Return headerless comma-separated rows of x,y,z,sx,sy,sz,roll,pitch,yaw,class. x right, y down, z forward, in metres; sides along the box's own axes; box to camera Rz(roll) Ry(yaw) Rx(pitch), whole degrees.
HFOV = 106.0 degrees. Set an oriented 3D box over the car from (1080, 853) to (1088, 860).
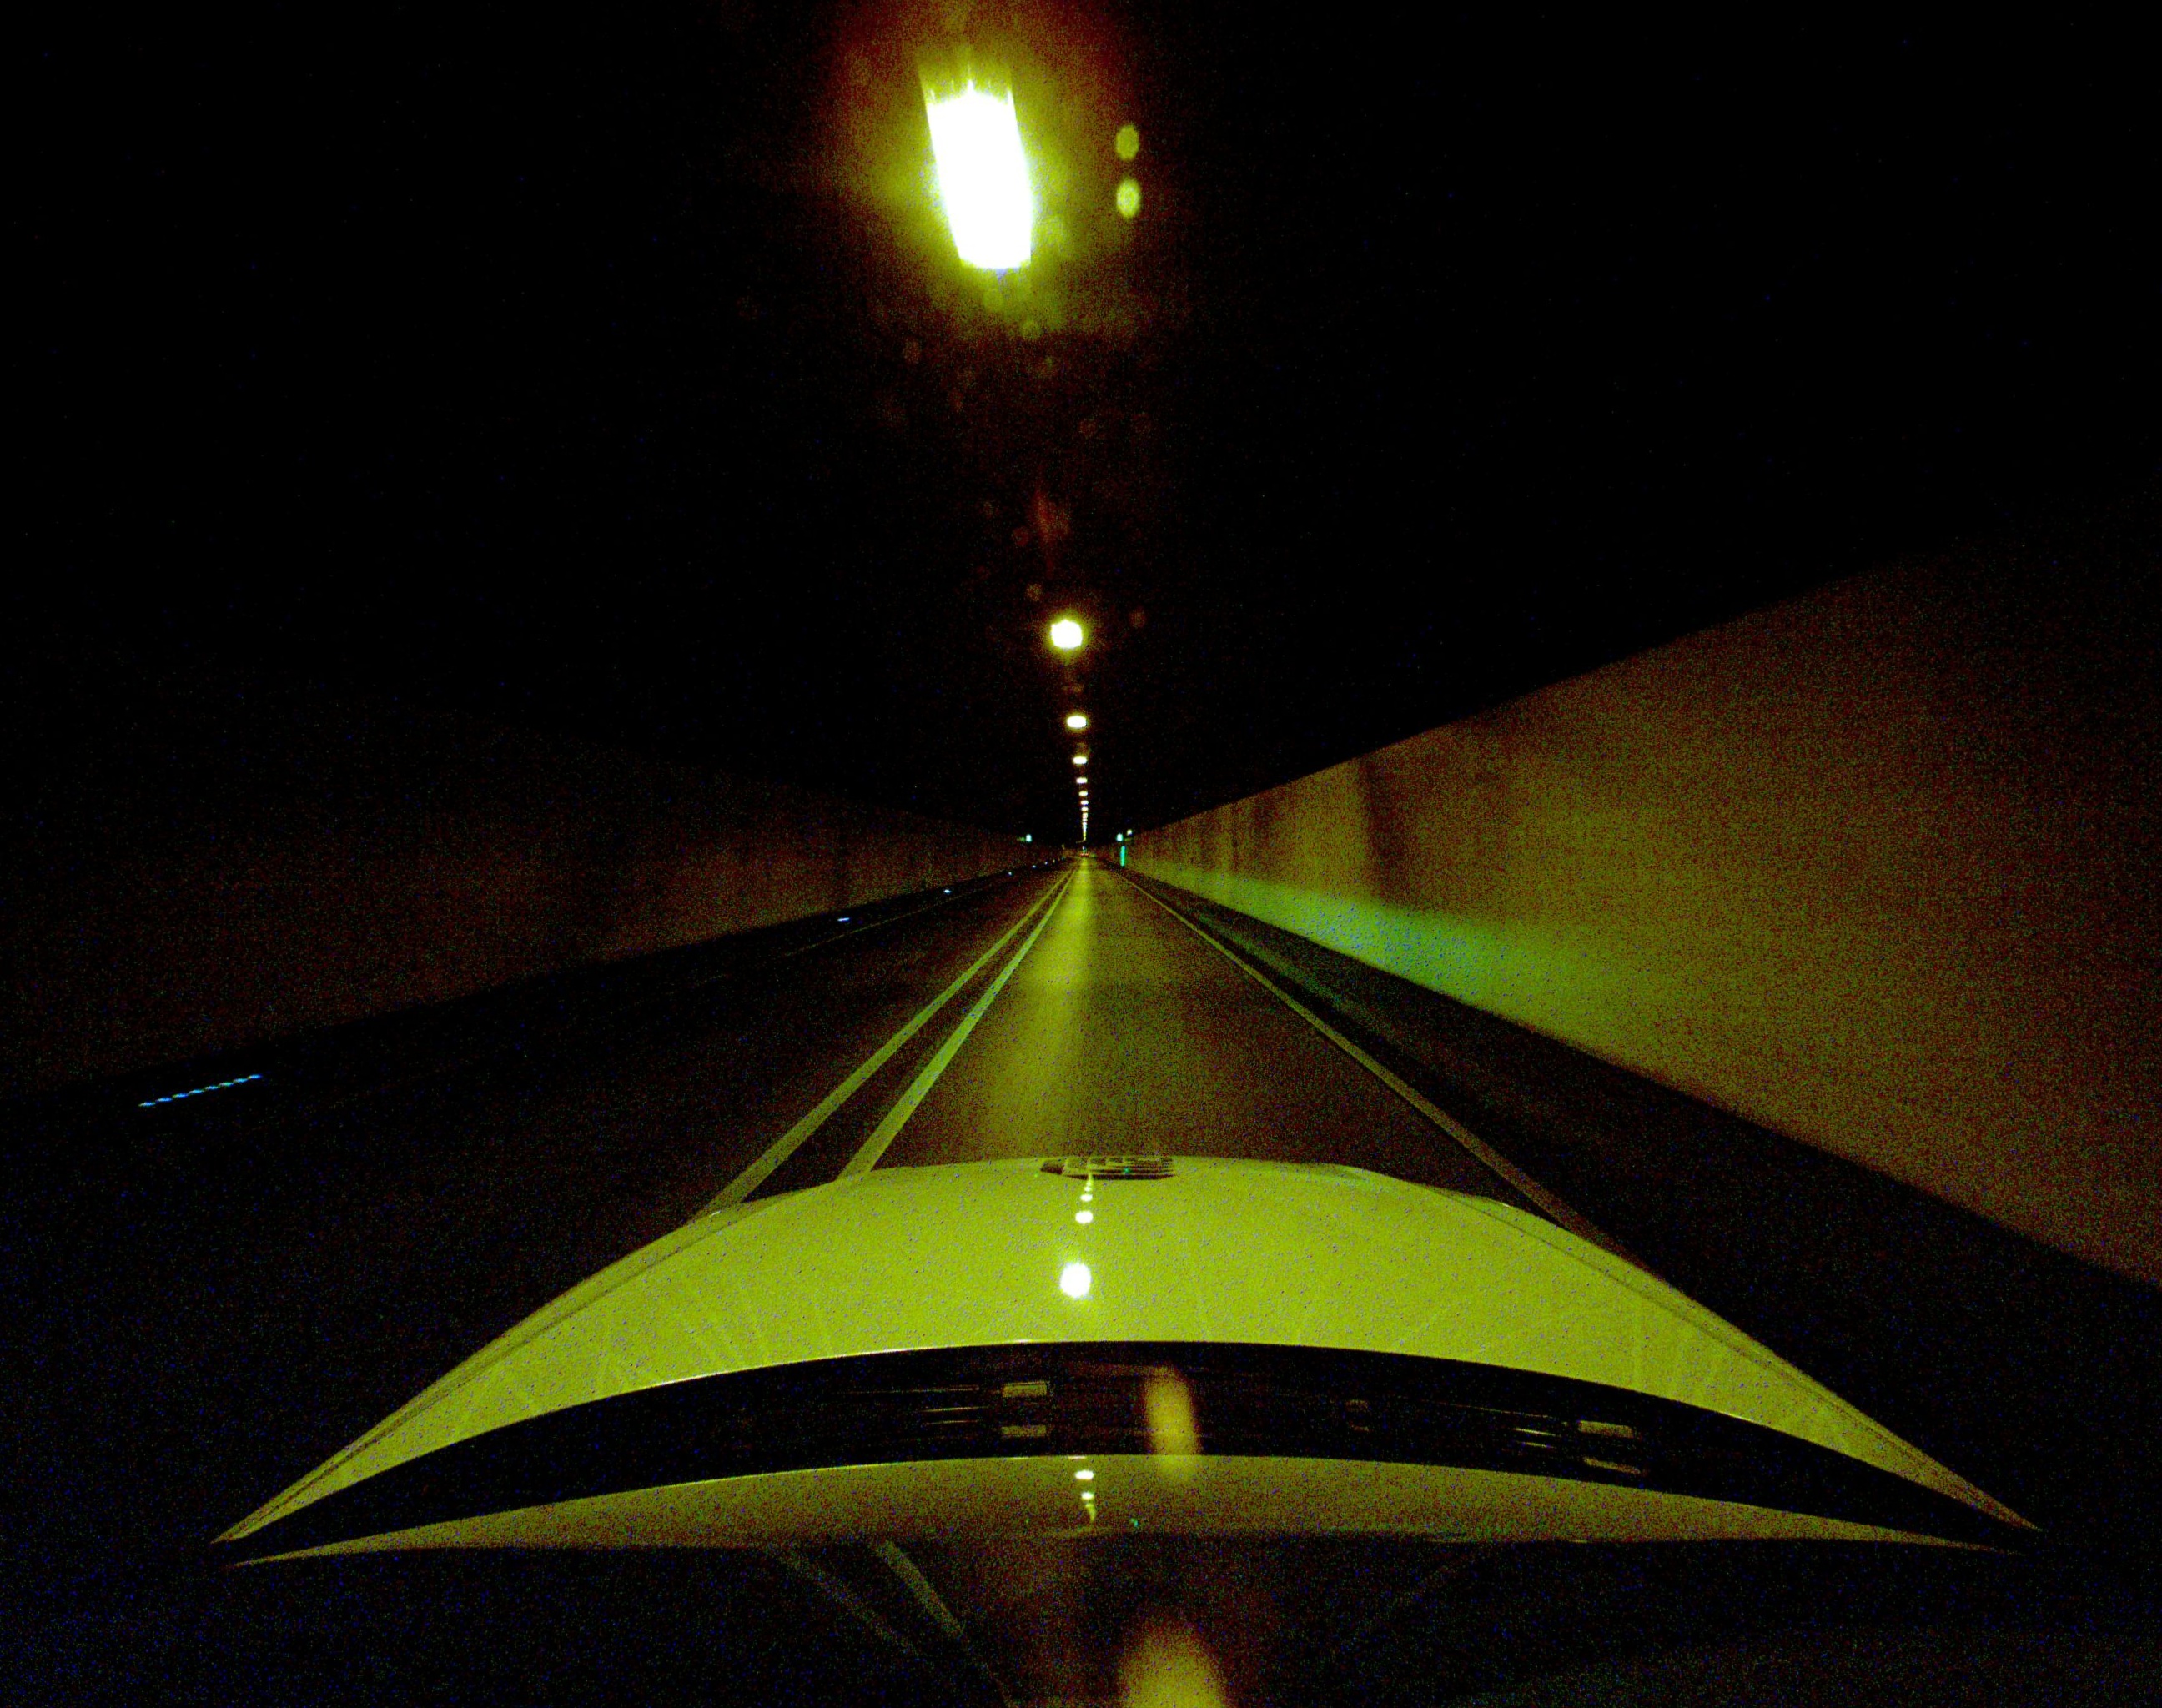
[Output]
0.742,0.693,229.897,1.963,1.939,4.605,0,-1,-4,car
